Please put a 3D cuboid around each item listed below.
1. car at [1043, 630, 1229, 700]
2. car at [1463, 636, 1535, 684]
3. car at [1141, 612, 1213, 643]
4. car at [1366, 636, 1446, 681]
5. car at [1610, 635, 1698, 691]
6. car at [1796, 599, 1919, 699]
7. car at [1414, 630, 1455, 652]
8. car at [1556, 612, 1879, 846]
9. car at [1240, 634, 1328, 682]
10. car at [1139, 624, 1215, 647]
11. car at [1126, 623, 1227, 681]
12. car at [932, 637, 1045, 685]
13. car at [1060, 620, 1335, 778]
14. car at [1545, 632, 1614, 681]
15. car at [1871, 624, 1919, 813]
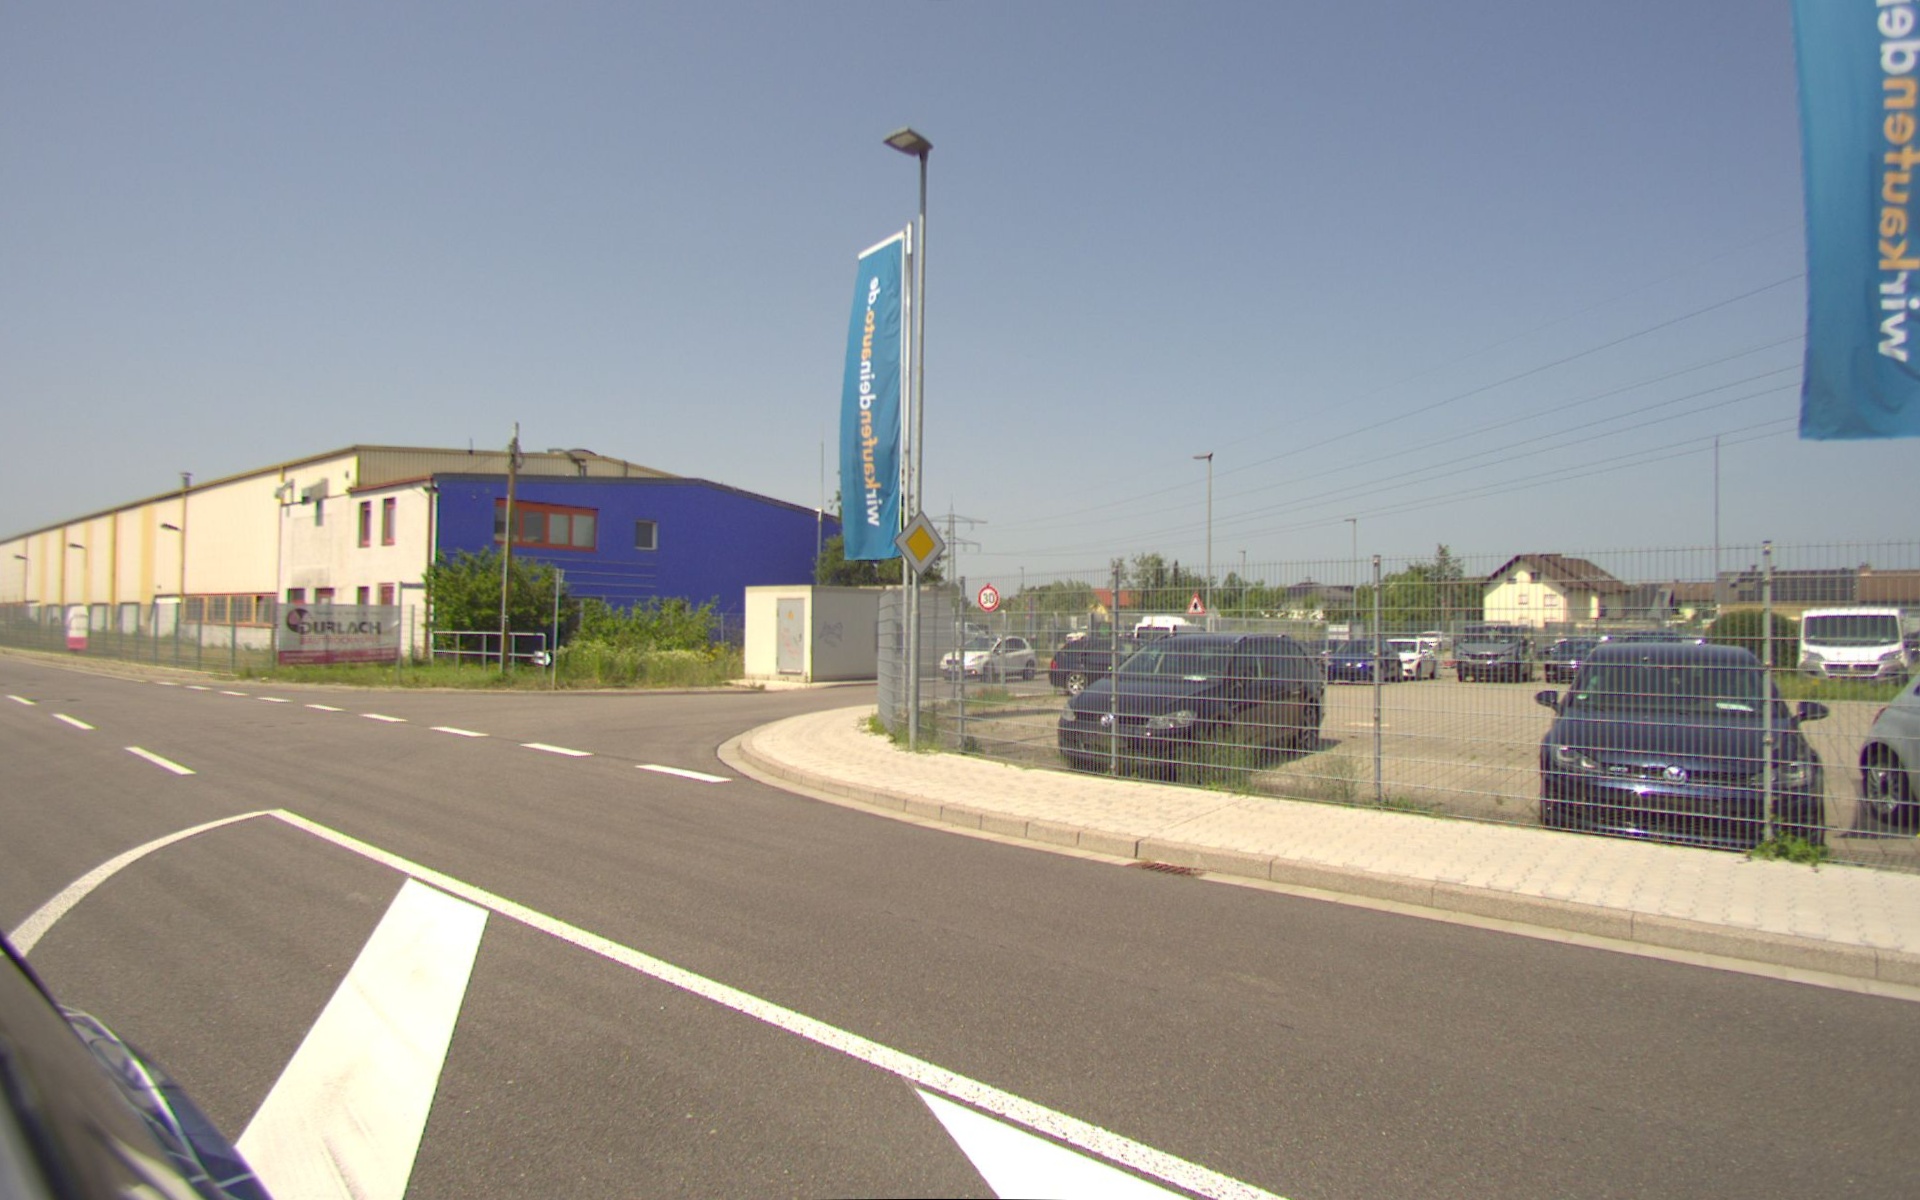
[{"bbox_3d":[4.095,1.502,23.917,3.995,1.514,1.752,-2,-3,38],"label":"car"},{"bbox_3d":[18.335,2.006,34.377,1.770,1.514,3.954,-2,-3,33],"label":"car"},{"bbox_3d":[14.807,1.890,69.077,4.620,2.029,1.986,-1,-3,21],"label":"car"},{"bbox_3d":[16.067,2.081,36.375,1.772,1.514,3.950,-2,-3,37],"label":"car"},{"bbox_3d":[19.175,1.693,27.897,1.870,1.431,4.026,-1,-3,36],"label":"car"},{"bbox_3d":[21.915,1.177,24.568,4.258,2.213,2.001,3,-3,-44],"label":"car"},{"bbox_3d":[34.155,2.922,72.813,1.773,1.514,4.107,-1,-2,39],"label":"car"},{"bbox_3d":[6.225,0.924,8.731,1.769,1.514,3.956,-1,-3,32],"label":"car"},{"bbox_3d":[10.858,1.913,33.775,1.770,1.514,3.954,-2,-3,33],"label":"car"},{"bbox_3d":[14.213,2.342,66.227,4.552,1.438,1.982,-1,-3,26],"label":"car"},{"bbox_3d":[8.542,2.015,39.670,2.006,2.076,4.751,0,-2,38],"label":"car"},{"bbox_3d":[1.017,2.003,34.087,1.772,1.514,4.110,-1,-2,37],"label":"car"},{"bbox_3d":[2.916,1.036,11.813,1.771,1.514,3.951,-1,-3,36],"label":"car"},{"bbox_3d":[20.519,1.855,33.459,1.770,1.514,3.954,-2,-3,33],"label":"car"},{"bbox_3d":[7.980,0.886,6.555,1.575,1.476,3.471,0,-2,14],"label":"car"}]
